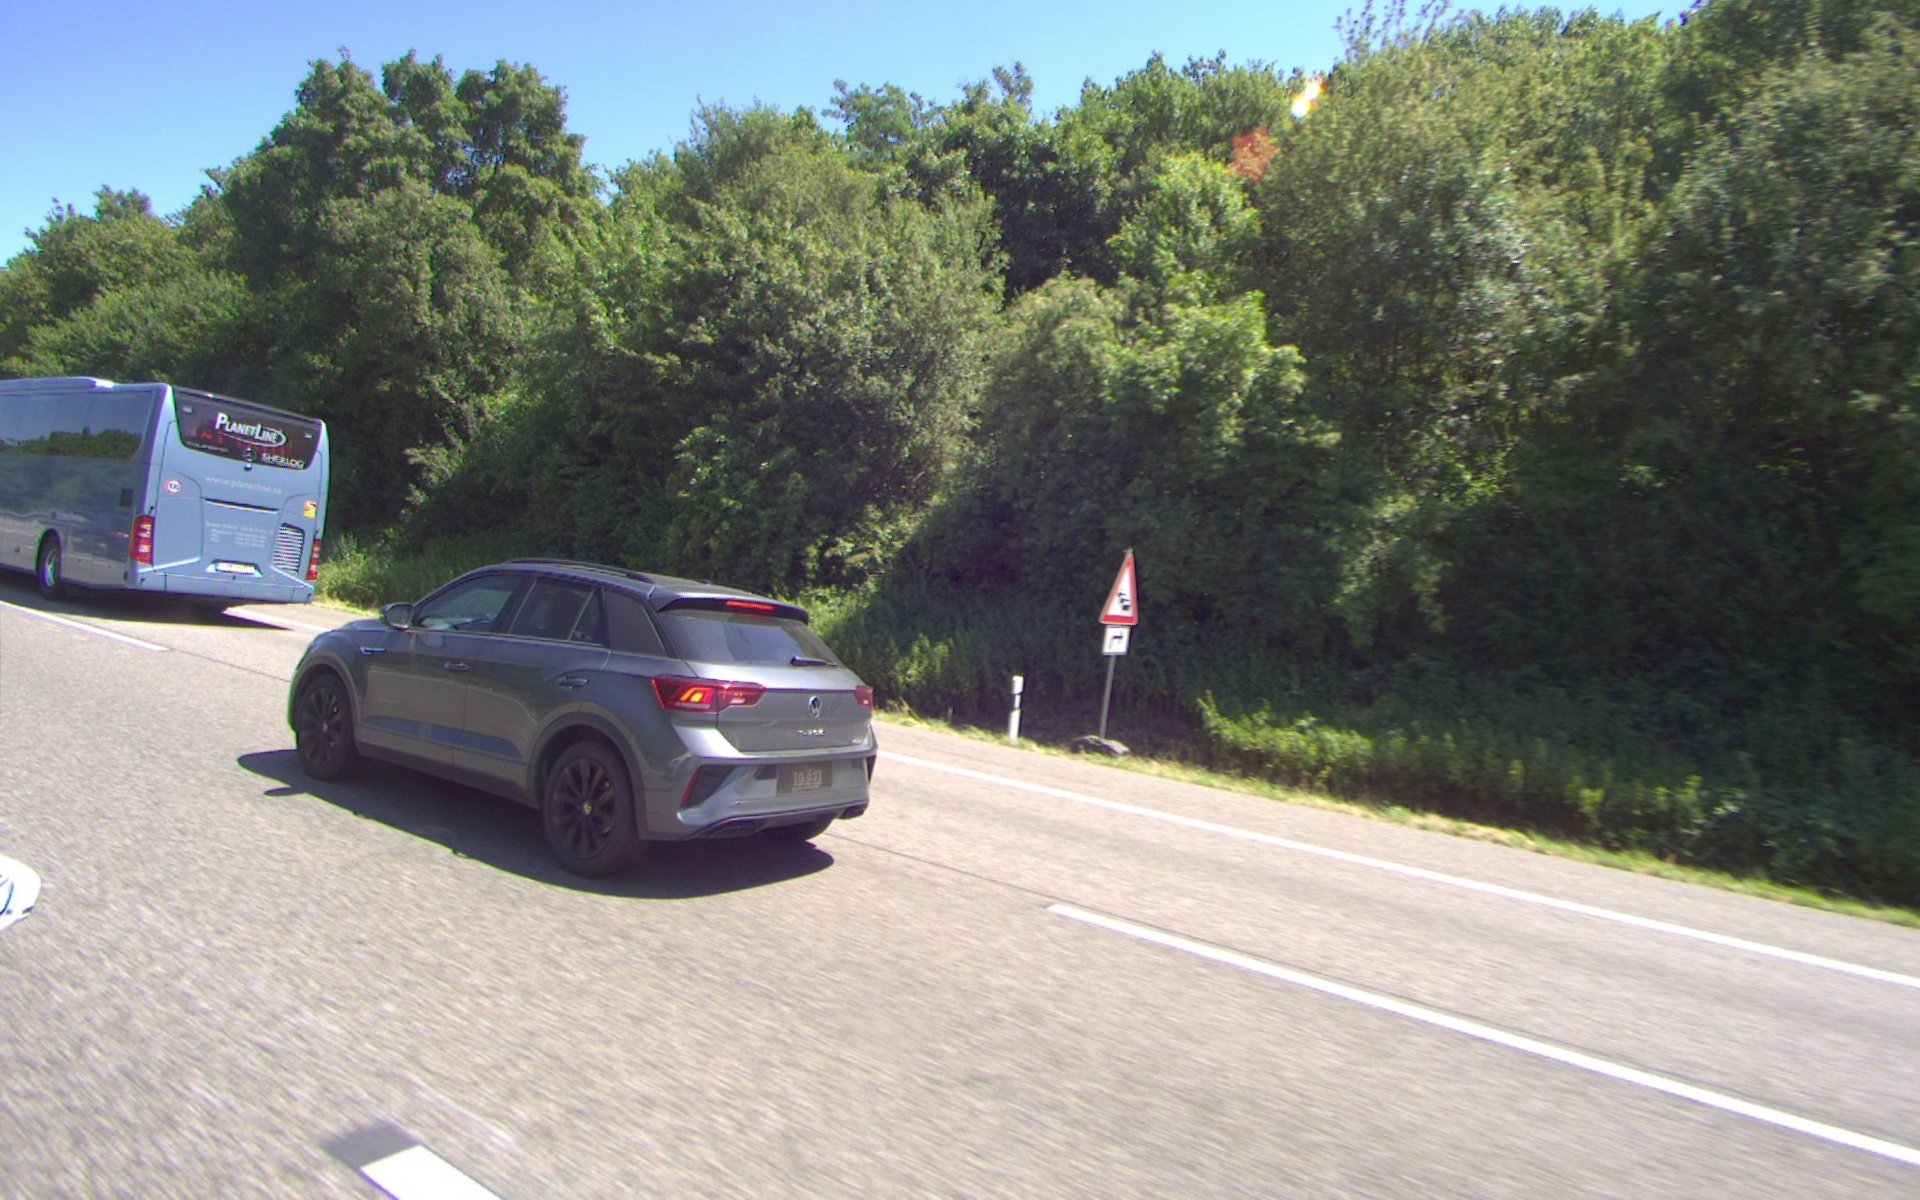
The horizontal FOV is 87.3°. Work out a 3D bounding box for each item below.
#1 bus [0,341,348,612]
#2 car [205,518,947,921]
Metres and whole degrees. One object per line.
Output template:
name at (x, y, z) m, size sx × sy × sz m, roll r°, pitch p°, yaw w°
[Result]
bus at (-16.300, -2.335, 18.628) m, size 12.265 × 3.639 × 2.807 m, roll 7°, pitch -1°, yaw 31°
car at (-2.641, 0.527, 6.557) m, size 4.680 × 1.550 × 1.903 m, roll 7°, pitch -1°, yaw 31°
